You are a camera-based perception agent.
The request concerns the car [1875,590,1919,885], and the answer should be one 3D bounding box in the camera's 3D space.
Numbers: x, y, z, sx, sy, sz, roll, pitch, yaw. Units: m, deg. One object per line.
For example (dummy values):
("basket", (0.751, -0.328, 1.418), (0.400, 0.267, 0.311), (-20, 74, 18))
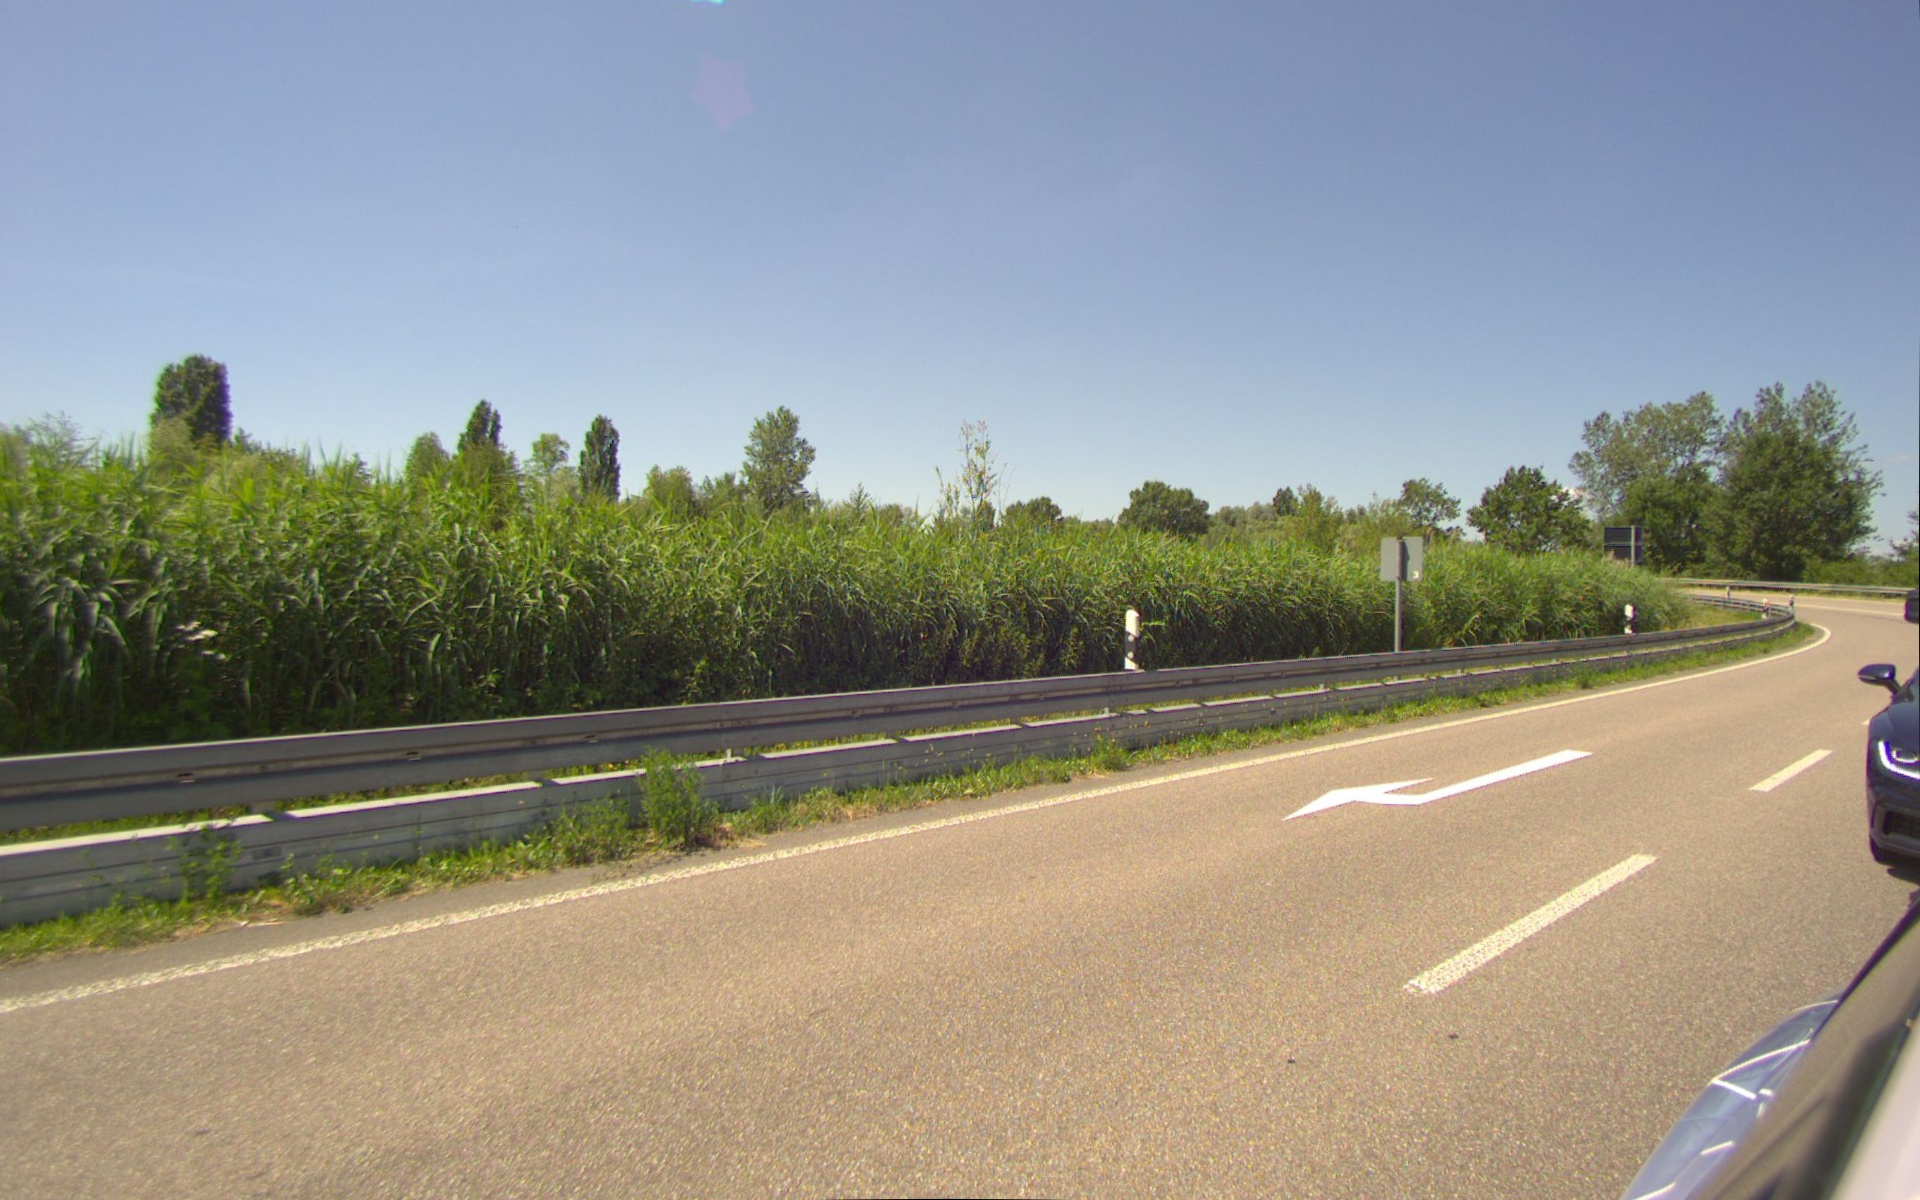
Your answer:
("car", (6.612, 0.649, 5.660), (3.930, 1.427, 1.759), (-1, 1, -41))
